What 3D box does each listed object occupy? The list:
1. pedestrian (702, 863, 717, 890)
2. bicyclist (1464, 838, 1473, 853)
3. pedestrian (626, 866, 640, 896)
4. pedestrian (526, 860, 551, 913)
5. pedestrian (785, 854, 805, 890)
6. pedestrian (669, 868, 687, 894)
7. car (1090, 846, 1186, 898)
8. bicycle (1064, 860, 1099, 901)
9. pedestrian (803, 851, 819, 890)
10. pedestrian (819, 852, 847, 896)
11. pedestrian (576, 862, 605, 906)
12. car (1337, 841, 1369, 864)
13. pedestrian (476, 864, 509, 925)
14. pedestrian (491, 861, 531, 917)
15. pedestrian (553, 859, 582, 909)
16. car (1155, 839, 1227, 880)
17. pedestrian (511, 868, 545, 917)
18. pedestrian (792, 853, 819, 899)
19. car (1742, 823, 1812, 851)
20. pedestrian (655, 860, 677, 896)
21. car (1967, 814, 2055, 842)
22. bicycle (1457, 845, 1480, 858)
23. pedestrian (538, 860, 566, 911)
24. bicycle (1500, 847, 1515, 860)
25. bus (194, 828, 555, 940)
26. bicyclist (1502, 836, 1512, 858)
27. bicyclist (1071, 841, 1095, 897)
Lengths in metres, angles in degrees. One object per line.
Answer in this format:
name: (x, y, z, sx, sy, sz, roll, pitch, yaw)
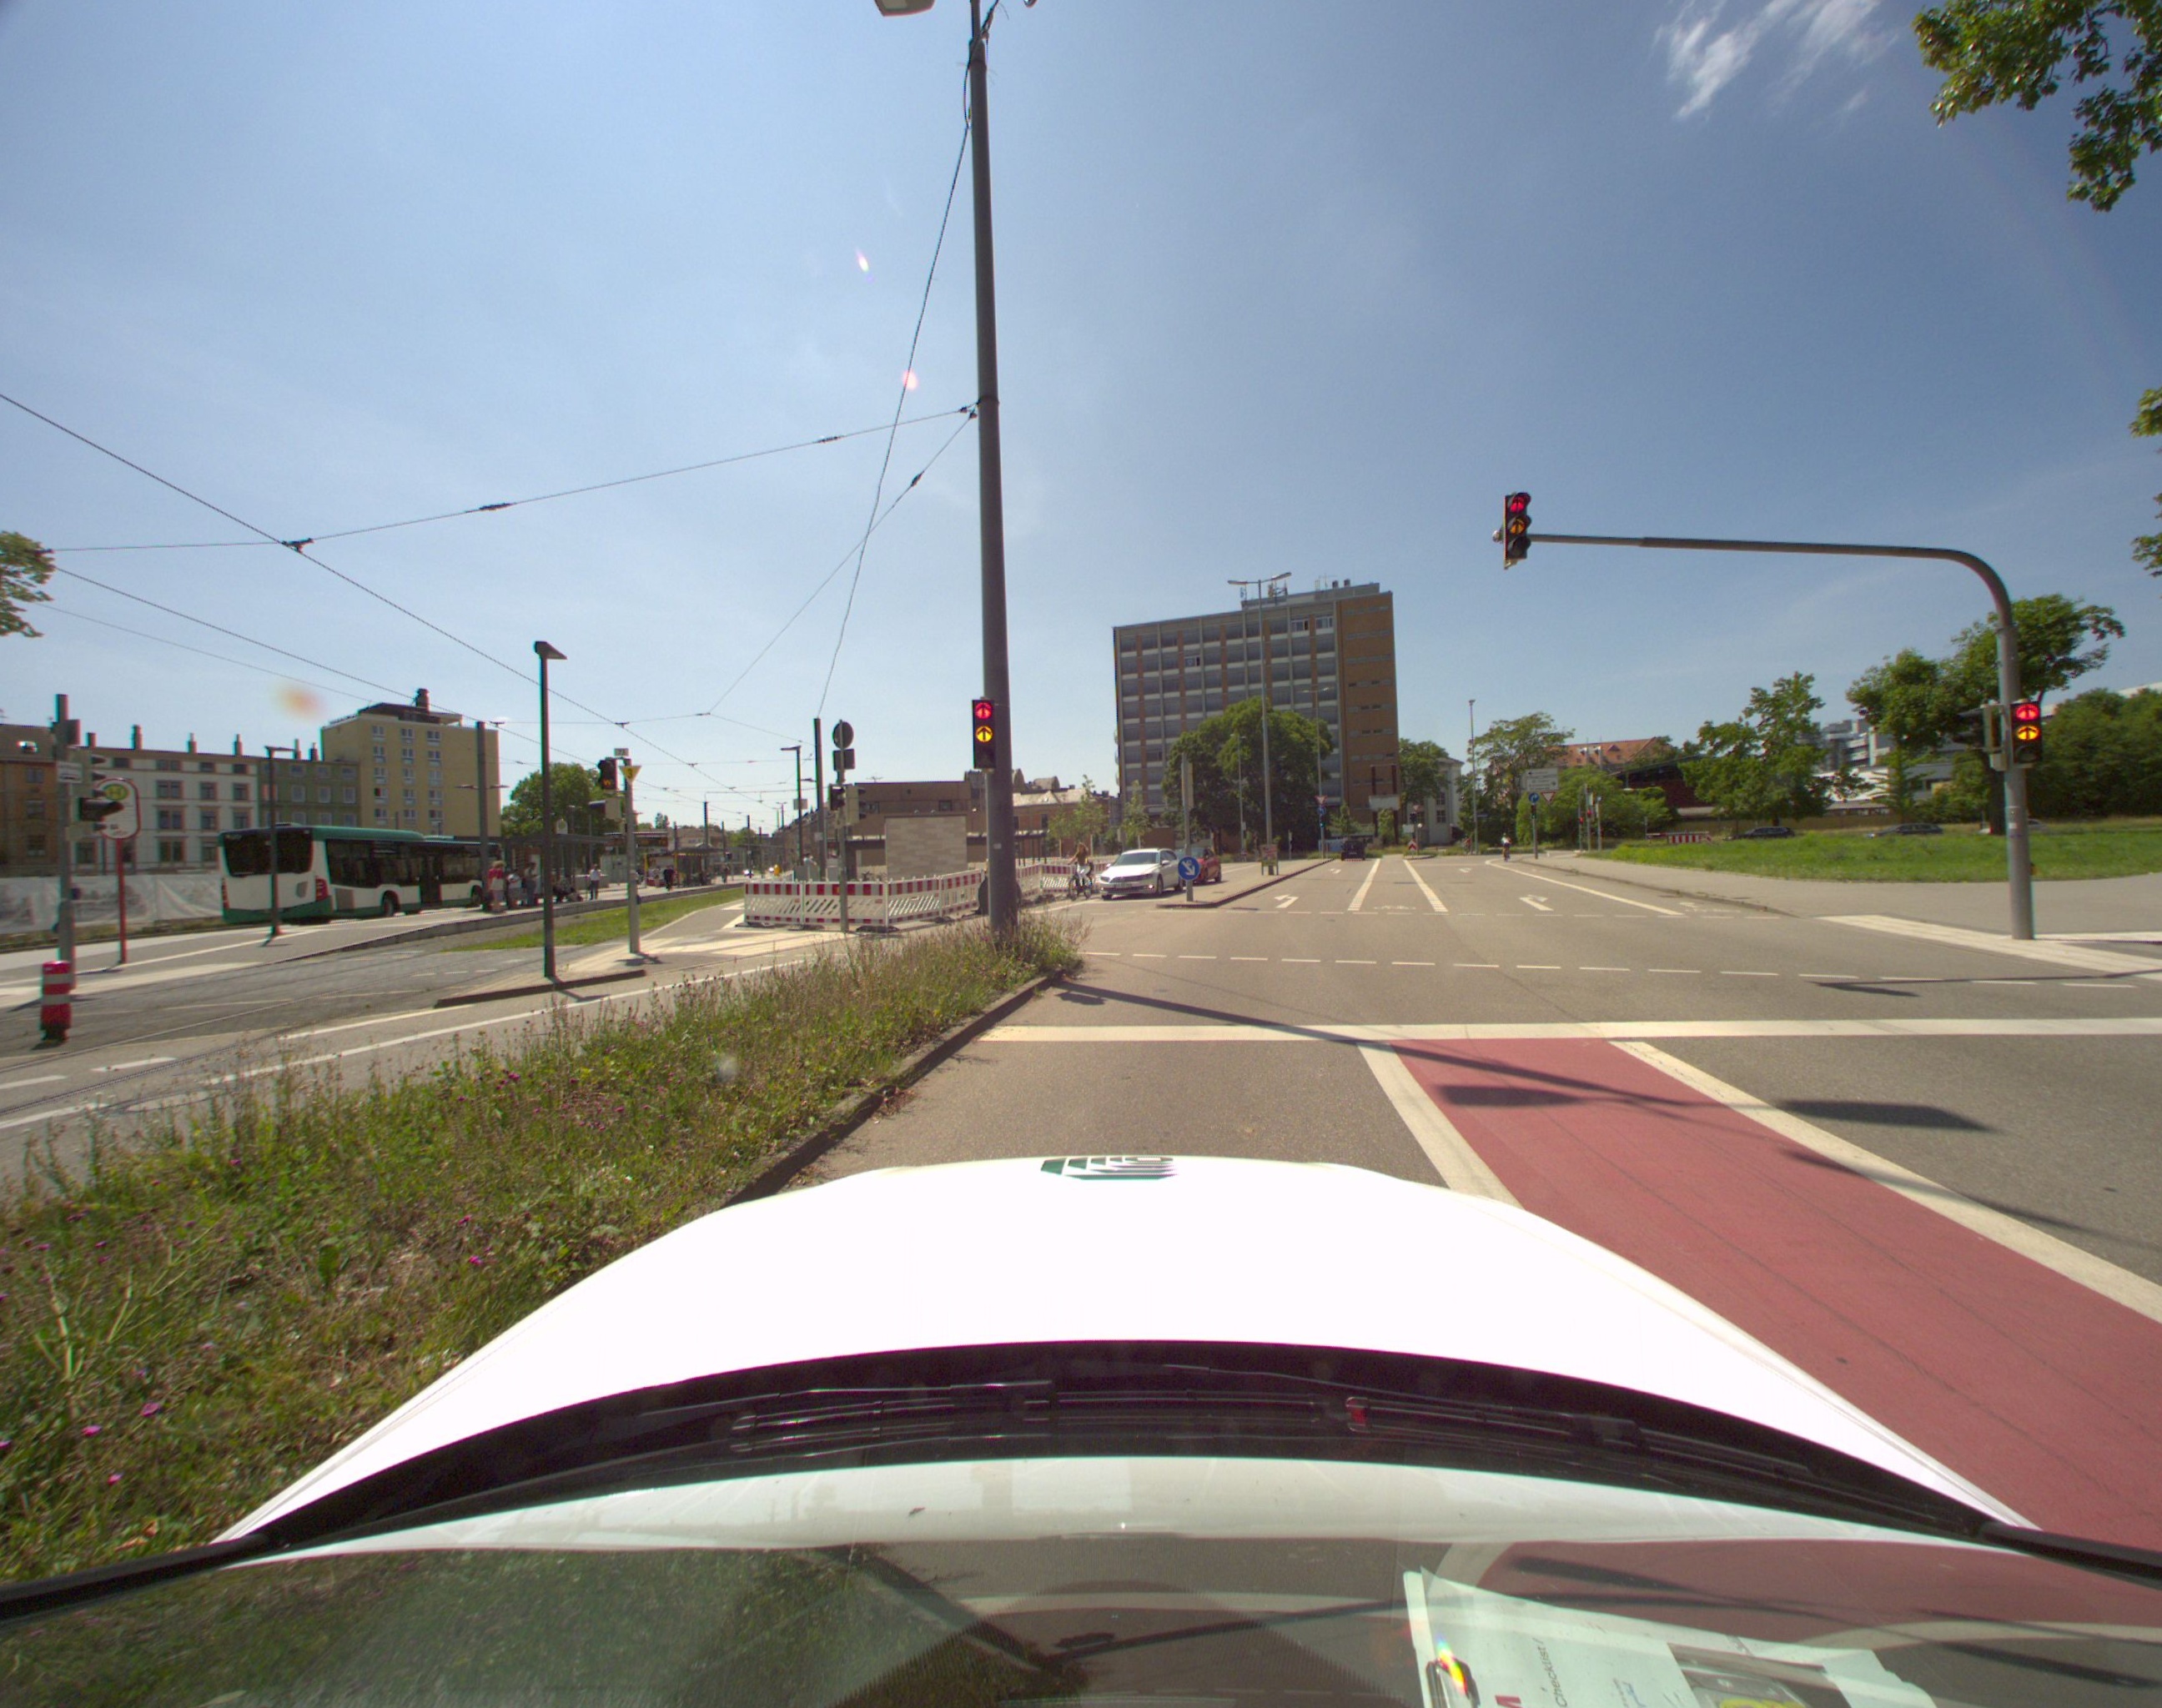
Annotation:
pedestrian: (-29.491, 1.780, 64.656, 0.830, 2.096, 0.897, -3, 0, -15)
bicyclist: (38.971, -0.865, 81.936, 0.677, 1.488, 0.789, -3, -1, 31)
pedestrian: (-32.913, 1.973, 59.815, 0.710, 2.111, 0.649, -2, 0, -38)
pedestrian: (-22.232, 1.322, 33.400, 0.703, 2.096, 0.639, -2, 0, -25)
pedestrian: (-13.866, 0.875, 39.487, 0.731, 1.707, 0.736, -1, -2, -34)
pedestrian: (-29.266, 1.951, 59.164, 0.979, 1.834, 0.768, -2, 0, -38)
car: (1.930, 0.511, 25.929, 1.978, 1.438, 4.726, -3, -1, 17)
bicycle: (0.033, 0.820, 25.758, 0.394, 1.174, 1.780, -2, 0, 24)
pedestrian: (-13.541, 0.827, 40.870, 0.721, 1.923, 1.067, -2, -1, -19)
pedestrian: (-10.764, 0.875, 35.284, 0.983, 1.832, 0.627, -3, 0, -29)
pedestrian: (-24.207, 1.453, 40.200, 0.899, 2.096, 0.829, -3, 0, -9)
car: (19.146, -0.136, 57.436, 1.677, 1.527, 3.701, -3, 0, 11)
pedestrian: (-19.051, 1.294, 26.388, 0.676, 1.909, 0.635, -2, 0, -24)
pedestrian: (-21.357, 1.299, 30.535, 0.946, 1.990, 1.020, -3, 0, -24)
pedestrian: (-22.329, 1.302, 35.422, 0.904, 2.096, 0.824, -3, 0, -25)
car: (4.408, 0.194, 32.106, 1.716, 1.425, 4.146, -3, -1, 23)
pedestrian: (-21.674, 1.477, 31.930, 0.916, 1.851, 0.652, -3, 0, -24)
pedestrian: (-11.496, 0.906, 33.990, 0.721, 1.864, 0.772, -3, -2, 35)
car: (55.321, -1.360, 64.799, 3.951, 2.014, 1.478, -3, -1, 23)
pedestrian: (-25.184, 1.458, 49.446, 0.899, 2.096, 0.829, -3, 0, -9)
car: (68.673, -1.889, 60.197, 3.951, 1.871, 1.478, -3, -1, 23)
bicycle: (38.975, -0.240, 81.966, 1.987, 1.135, 0.577, -4, -2, 32)
pedestrian: (-22.308, 1.331, 34.353, 0.828, 2.096, 0.636, -2, 0, -26)
bicycle: (25.138, -0.033, 48.014, 0.373, 0.646, 1.655, -3, 0, 41)
bus: (-26.316, 0.940, 32.588, 3.014, 3.158, 17.417, -3, 0, -13)
bicyclist: (25.089, -0.408, 47.974, 0.348, 1.227, 0.567, -3, 0, 42)
bicyclist: (0.058, 0.460, 25.848, 0.562, 1.718, 0.510, 2, 2, 27)
